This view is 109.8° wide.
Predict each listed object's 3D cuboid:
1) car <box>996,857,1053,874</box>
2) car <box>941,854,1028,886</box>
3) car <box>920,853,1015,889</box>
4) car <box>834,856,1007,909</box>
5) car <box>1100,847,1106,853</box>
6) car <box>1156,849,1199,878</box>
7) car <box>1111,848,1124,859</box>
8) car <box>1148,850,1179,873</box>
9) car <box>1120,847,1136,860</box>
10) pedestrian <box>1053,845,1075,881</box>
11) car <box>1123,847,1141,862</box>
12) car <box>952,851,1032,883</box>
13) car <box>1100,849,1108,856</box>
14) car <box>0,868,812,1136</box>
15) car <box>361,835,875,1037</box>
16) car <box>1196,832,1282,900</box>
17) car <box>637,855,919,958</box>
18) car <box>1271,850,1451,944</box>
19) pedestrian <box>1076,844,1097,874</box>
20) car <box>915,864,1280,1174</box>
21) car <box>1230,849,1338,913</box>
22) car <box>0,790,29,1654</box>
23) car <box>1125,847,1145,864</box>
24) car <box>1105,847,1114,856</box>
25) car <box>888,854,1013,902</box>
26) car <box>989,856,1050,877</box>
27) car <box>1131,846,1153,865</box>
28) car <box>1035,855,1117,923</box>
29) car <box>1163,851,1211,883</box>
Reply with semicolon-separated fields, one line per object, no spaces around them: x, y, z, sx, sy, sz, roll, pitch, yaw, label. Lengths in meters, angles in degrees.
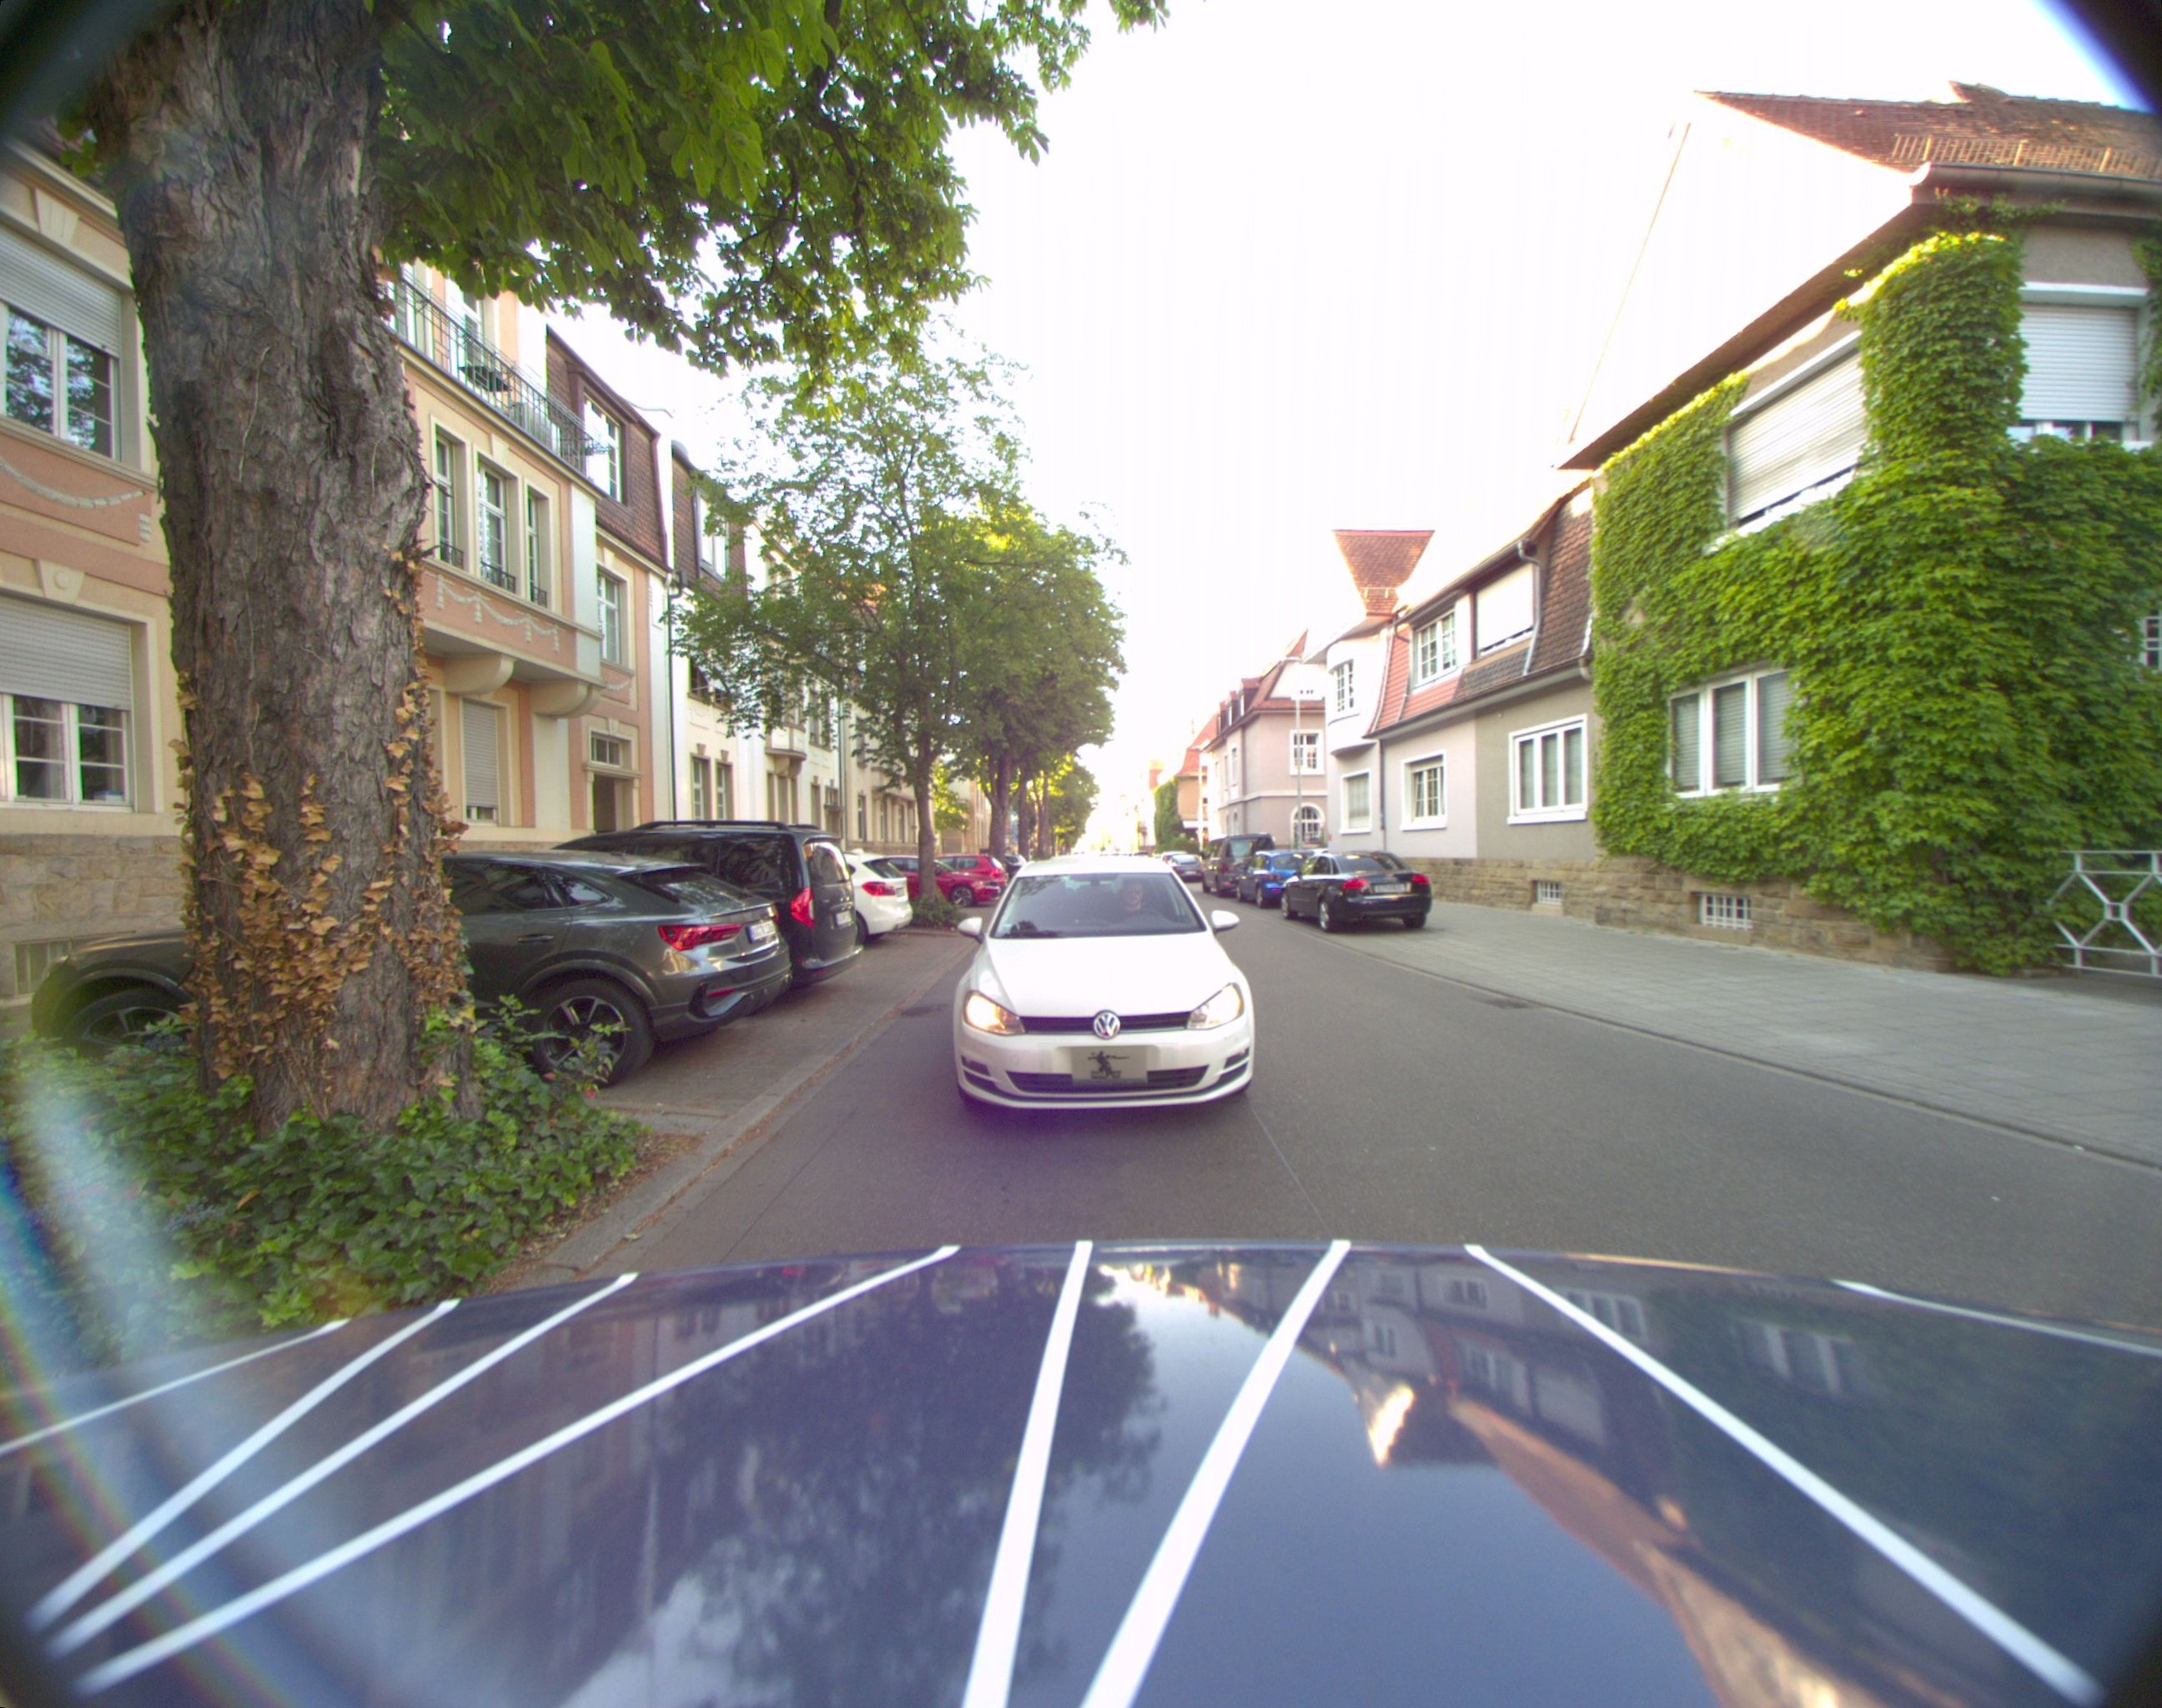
-3.513;0.713;47.637;3.399;1.057;1.542;0;1;2;car
-4.312;0.704;34.321;3.680;1.390;1.576;0;1;2;car
-4.676;0.701;31.705;3.680;1.458;1.576;0;1;2;car
-4.531;0.791;21.933;4.530;1.443;1.867;0;1;3;car
5.850;-0.992;202.664;1.699;1.520;3.677;-3;1;2;car
5.286;0.492;42.138;1.932;1.458;4.062;-3;1;2;car
5.554;-0.144;115.857;1.699;1.520;3.677;-3;1;2;car
5.442;0.458;50.378;1.662;1.354;3.677;-3;1;2;car
5.567;-0.065;91.004;1.699;1.520;3.677;-3;1;2;car
-0.945;0.473;42.234;1.119;1.927;1.097;-3;1;-1;pedestrian
5.439;0.043;80.758;1.699;1.520;3.677;-3;1;2;car
-4.279;0.614;36.834;3.680;1.548;1.576;0;1;2;car
5.290;-0.292;173.284;1.699;1.520;3.677;-3;1;2;car
-4.537;0.889;5.502;4.522;1.514;1.844;0;1;-4;car
-4.434;0.731;7.826;4.121;1.827;1.844;0;1;-2;car
5.147;0.343;25.348;1.842;1.964;4.612;-3;1;0;car
-4.828;0.809;12.526;3.950;1.568;1.719;0;1;0;car
5.146;0.687;14.677;1.806;1.438;4.428;-3;1;0;car
0.359;0.339;51.772;1.276;1.927;1.186;-3;1;-1;pedestrian
0.122;0.874;5.929;1.819;1.454;4.072;-2;0;1;car
5.283;0.634;20.337;1.768;1.438;4.062;-3;1;0;car
-4.591;0.763;0.516;4.763;1.864;1.896;0;1;-4;car
5.338;0.102;75.266;1.699;1.520;3.677;-3;1;2;car
5.577;-0.497;149.114;1.699;1.520;3.677;-3;1;2;car
-4.137;0.742;24.461;3.680;1.473;1.659;0;1;3;car
-3.562;0.719;44.431;3.399;1.143;1.542;0;1;2;car
5.424;0.135;68.001;1.699;1.558;3.677;-3;1;2;car
-0.068;0.792;19.255;1.819;1.454;4.072;-2;0;1;car
5.063;0.583;36.662;1.932;1.376;4.063;-3;1;4;car
